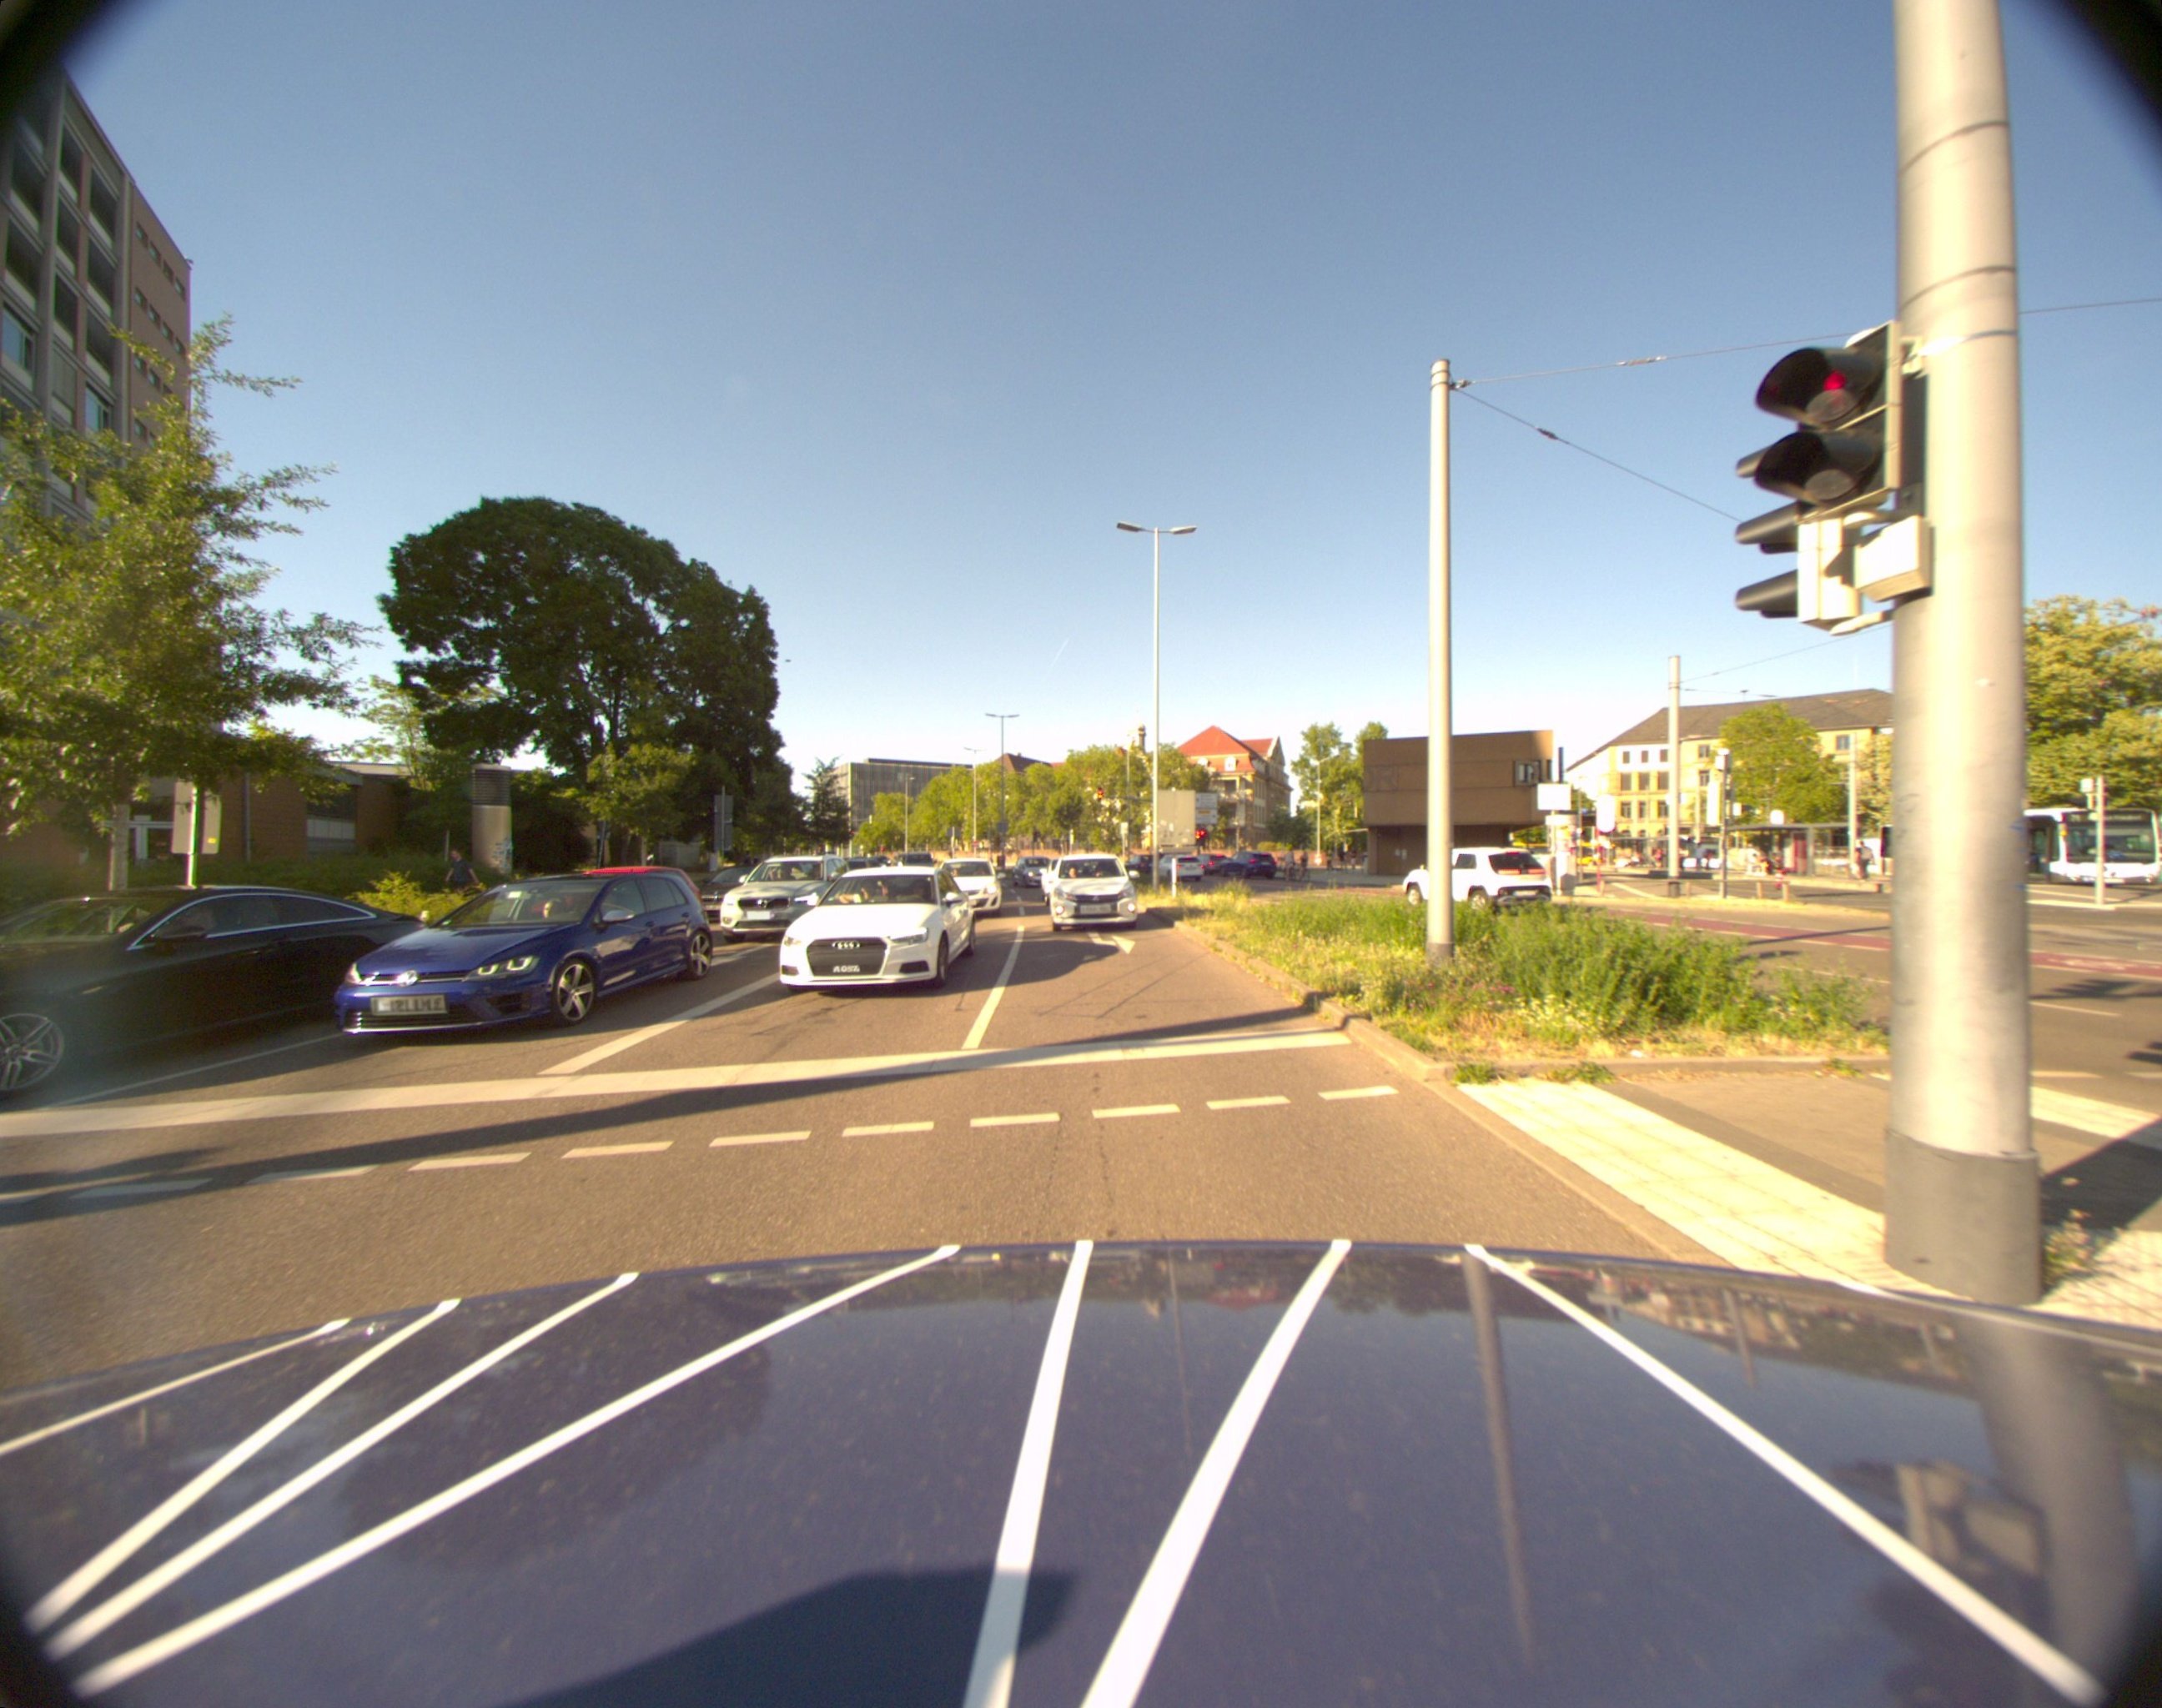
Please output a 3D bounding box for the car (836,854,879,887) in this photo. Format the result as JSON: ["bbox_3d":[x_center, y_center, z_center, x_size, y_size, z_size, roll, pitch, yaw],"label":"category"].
[{"bbox_3d":[-11.261,0.781,38.444,1.747,1.536,3.995,0,0,-11],"label":"car"}]

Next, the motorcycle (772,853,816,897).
[{"bbox_3d":[-9.194,0.643,24.431,0.718,1.297,2.233,-2,1,-5],"label":"motorcycle"}]

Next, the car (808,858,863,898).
[{"bbox_3d":[-10.436,0.974,32.537,1.746,1.516,3.996,0,0,-11],"label":"car"}]

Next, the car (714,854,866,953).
[{"bbox_3d":[-5.707,0.872,15.464,1.628,1.611,4.222,-2,1,-3],"label":"car"}]

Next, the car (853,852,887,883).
[{"bbox_3d":[-12.779,0.783,46.039,1.880,1.805,3.994,0,0,-15],"label":"car"}]

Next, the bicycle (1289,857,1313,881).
[{"bbox_3d":[11.758,0.792,40.609,0.464,1.185,1.395,-2,1,-19],"label":"bicycle"}]

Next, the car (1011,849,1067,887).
[{"bbox_3d":[-2.052,0.615,35.735,1.747,1.696,3.994,0,0,-16],"label":"car"}]

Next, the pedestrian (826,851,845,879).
[{"bbox_3d":[-18.015,0.786,55.746,1.143,2.002,1.285,-2,1,-12],"label":"pedestrian"}]

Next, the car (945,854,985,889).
[{"bbox_3d":[-5.417,0.774,35.552,1.746,1.536,3.996,0,0,-9],"label":"car"}]

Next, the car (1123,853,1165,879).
[{"bbox_3d":[3.952,0.721,48.156,1.756,1.451,4.185,-2,1,-8],"label":"car"}]

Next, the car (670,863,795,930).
[{"bbox_3d":[-9.154,1.044,20.352,1.628,1.451,4.040,-2,1,-3],"label":"car"}]

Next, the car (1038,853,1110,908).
[{"bbox_3d":[-0.321,0.743,23.830,1.756,1.451,4.185,-2,1,-7],"label":"car"}]

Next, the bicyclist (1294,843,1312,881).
[{"bbox_3d":[11.833,0.438,40.510,0.611,2.002,0.708,0,1,-17],"label":"bicyclist"}]

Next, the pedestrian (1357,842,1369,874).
[{"bbox_3d":[18.202,0.257,49.045,0.655,2.002,0.469,-1,2,19],"label":"pedestrian"}]

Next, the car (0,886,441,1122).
[{"bbox_3d":[-8.313,1.137,6.602,1.728,1.396,4.509,-2,1,-2],"label":"car"}]

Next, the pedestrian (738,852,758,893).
[{"bbox_3d":[-15.403,0.852,35.158,0.464,1.875,0.696,-1,2,16],"label":"pedestrian"}]

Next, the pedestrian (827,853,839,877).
[{"bbox_3d":[-16.609,0.741,50.936,0.596,1.585,0.594,-2,2,-10],"label":"pedestrian"}]

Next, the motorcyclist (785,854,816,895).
[{"bbox_3d":[-9.267,0.675,25.126,0.718,1.297,0.735,-2,1,-6],"label":"motorcyclist"}]

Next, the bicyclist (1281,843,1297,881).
[{"bbox_3d":[11.059,0.440,40.395,0.611,2.002,0.565,0,1,-17],"label":"bicyclist"}]

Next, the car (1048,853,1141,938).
[{"bbox_3d":[0.160,0.755,16.018,1.628,1.451,4.040,-2,1,-3],"label":"car"}]

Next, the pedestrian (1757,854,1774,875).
[{"bbox_3d":[38.259,0.587,42.479,0.539,1.180,0.659,-1,2,27],"label":"pedestrian"}]

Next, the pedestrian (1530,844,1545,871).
[{"bbox_3d":[34.712,0.236,57.780,0.780,2.002,0.771,-3,2,-43],"label":"pedestrian"}]

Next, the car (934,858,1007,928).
[{"bbox_3d":[-2.782,0.907,19.526,1.628,1.451,4.038,-2,1,-7],"label":"car"}]

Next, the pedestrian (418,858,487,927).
[{"bbox_3d":[-16.433,0.986,19.894,1.010,1.711,0.884,-2,2,-12],"label":"pedestrian"}]

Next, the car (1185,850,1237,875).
[{"bbox_3d":[8.481,0.521,49.995,1.851,1.483,4.387,1,0,-12],"label":"car"}]

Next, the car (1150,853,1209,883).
[{"bbox_3d":[5.404,0.712,42.237,1.850,1.483,4.387,-2,1,-12],"label":"car"}]

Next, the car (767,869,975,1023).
[{"bbox_3d":[-2.434,0.987,9.773,1.628,1.396,3.832,-2,1,-1],"label":"car"}]

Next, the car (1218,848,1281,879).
[{"bbox_3d":[9.733,0.495,44.172,1.758,1.680,4.182,-1,1,-17],"label":"car"}]

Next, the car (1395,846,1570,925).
[{"bbox_3d":[9.638,0.664,18.641,1.786,1.652,3.997,-2,1,-7],"label":"car"}]

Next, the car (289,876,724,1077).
[{"bbox_3d":[-5.612,1.060,8.186,1.628,1.396,3.999,-2,1,-1],"label":"car"}]

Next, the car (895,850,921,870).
[{"bbox_3d":[-16.287,0.558,71.441,1.881,1.805,3.992,0,0,-21],"label":"car"}]

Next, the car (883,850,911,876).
[{"bbox_3d":[-13.336,0.642,54.977,1.880,1.805,3.994,0,0,-15],"label":"car"}]

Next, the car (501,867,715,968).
[{"bbox_3d":[-8.645,1.061,14.359,1.628,1.451,4.040,-2,1,-3],"label":"car"}]

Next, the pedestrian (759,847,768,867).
[{"bbox_3d":[-24.572,0.198,58.764,0.548,1.521,0.603,-2,2,-21],"label":"pedestrian"}]

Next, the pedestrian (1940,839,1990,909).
[{"bbox_3d":[24.603,0.546,21.162,0.797,1.886,0.612,0,1,39],"label":"pedestrian"}]

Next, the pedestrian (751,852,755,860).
[{"bbox_3d":[-59.131,0.293,137.060,0.410,1.477,0.485,0,1,-1],"label":"pedestrian"}]

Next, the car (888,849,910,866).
[{"bbox_3d":[-20.247,0.395,84.277,1.881,1.805,3.992,0,0,-21],"label":"car"}]

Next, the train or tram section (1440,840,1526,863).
[{"bbox_3d":[54.145,-0.338,102.566,10.092,2.907,2.003,-1,2,23],"label":"train or tram section"}]

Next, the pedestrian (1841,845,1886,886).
[{"bbox_3d":[33.624,0.494,32.673,1.041,1.674,1.005,-1,2,23],"label":"pedestrian"}]

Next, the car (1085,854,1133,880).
[{"bbox_3d":[1.677,0.765,46.725,1.757,1.451,4.183,-2,1,-14],"label":"car"}]

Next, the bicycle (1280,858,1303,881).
[{"bbox_3d":[11.166,0.815,40.352,0.464,1.185,1.395,-2,1,-19],"label":"bicycle"}]

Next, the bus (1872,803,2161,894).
[{"bbox_3d":[38.487,-0.347,32.145,2.695,3.133,12.193,-1,1,25],"label":"bus"}]

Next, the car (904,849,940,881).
[{"bbox_3d":[-9.643,0.636,45.930,1.880,1.805,3.994,0,0,-15],"label":"car"}]

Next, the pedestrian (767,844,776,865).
[{"bbox_3d":[-24.023,0.048,59.043,0.548,1.597,0.603,-2,2,-21],"label":"pedestrian"}]

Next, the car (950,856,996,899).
[{"bbox_3d":[-4.229,0.860,29.707,1.629,1.451,4.038,-2,1,-8],"label":"car"}]

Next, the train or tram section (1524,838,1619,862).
[{"bbox_3d":[63.288,-0.509,98.317,10.092,2.907,2.003,-1,1,22],"label":"train or tram section"}]
